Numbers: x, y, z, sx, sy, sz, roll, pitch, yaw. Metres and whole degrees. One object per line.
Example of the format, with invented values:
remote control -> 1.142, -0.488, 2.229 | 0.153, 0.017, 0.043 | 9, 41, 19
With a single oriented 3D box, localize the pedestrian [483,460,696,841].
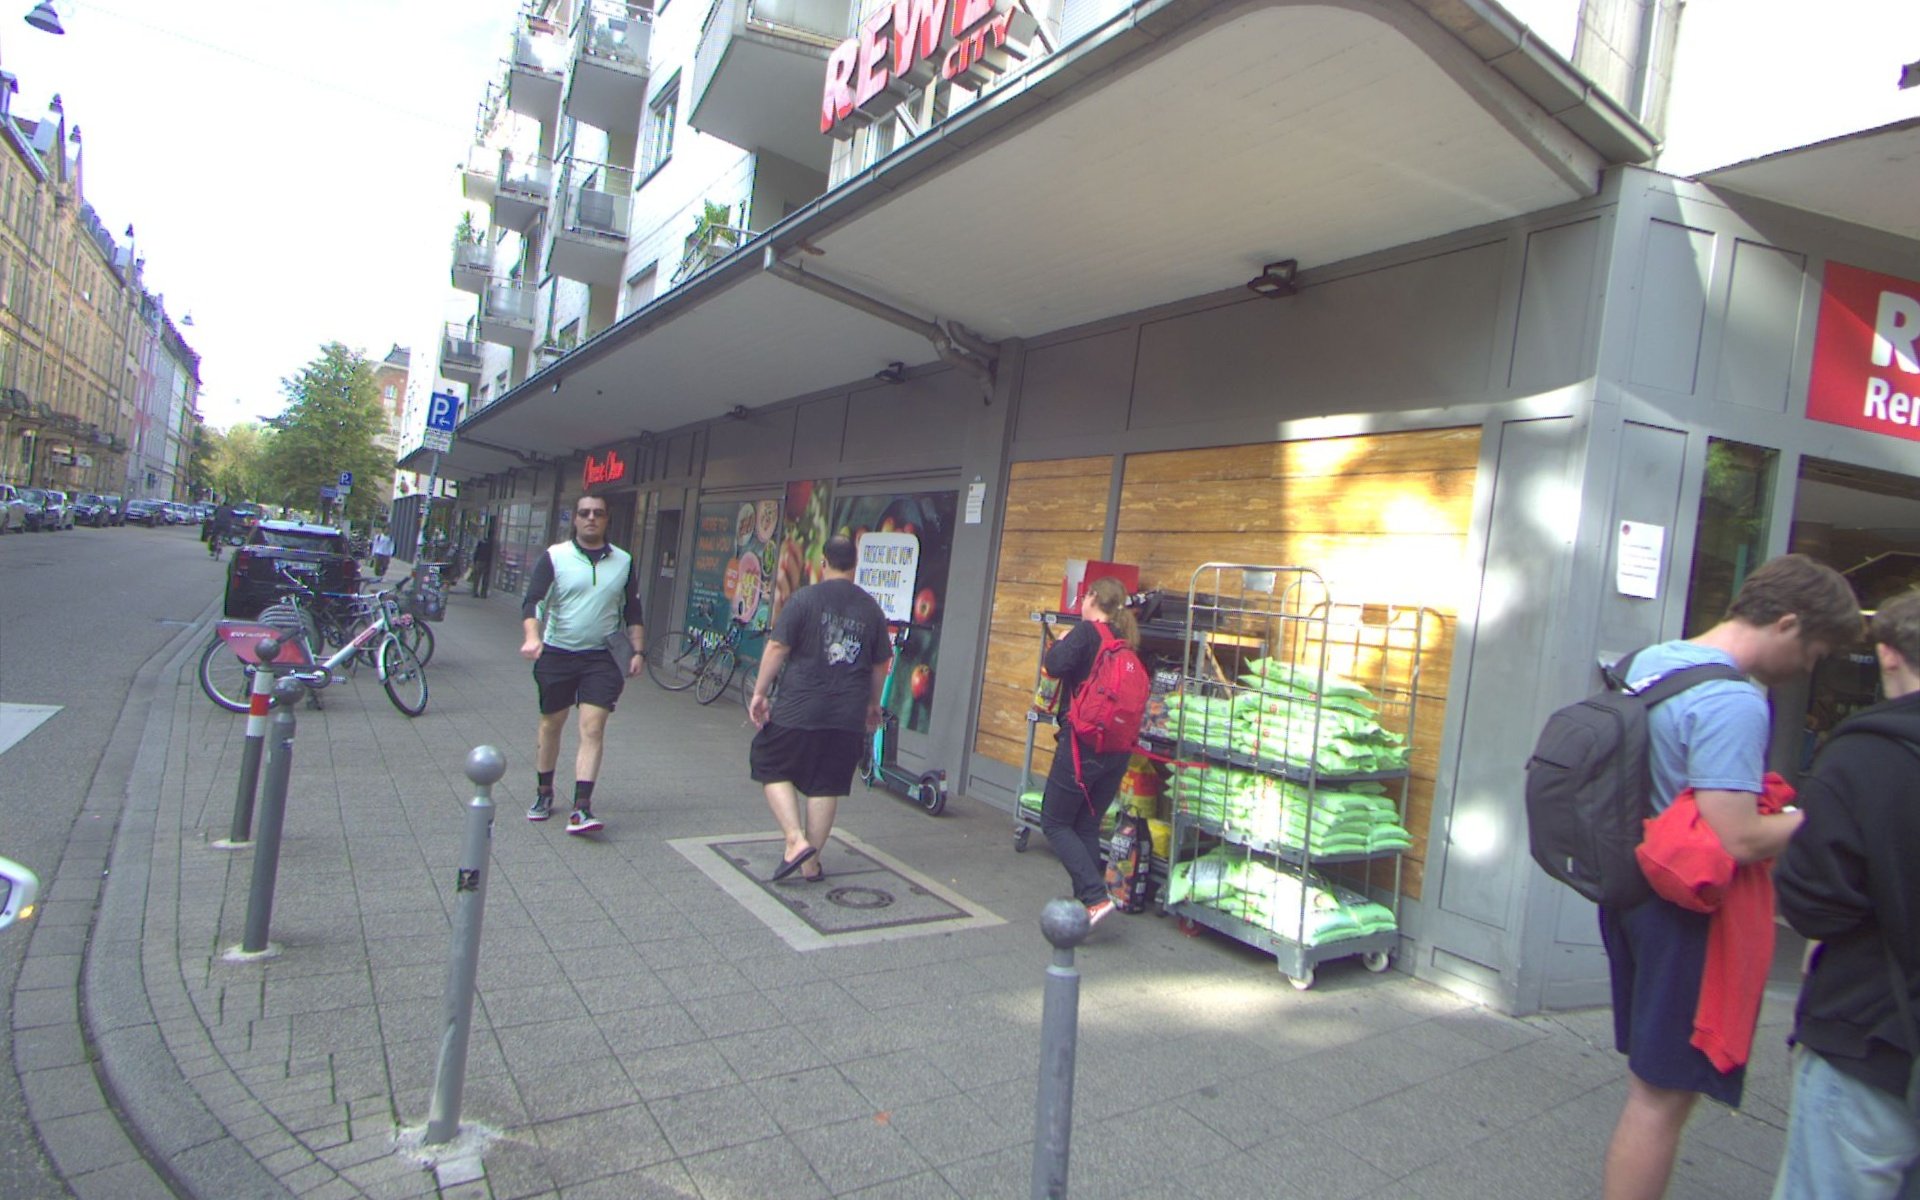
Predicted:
pedestrian -> -2.074, 0.262, 5.543 | 0.875, 1.858, 1.040 | 5, 2, -26

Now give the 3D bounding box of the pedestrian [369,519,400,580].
pedestrian -> -17.336, -1.532, 30.318 | 0.607, 1.748, 1.116 | 6, 2, -33

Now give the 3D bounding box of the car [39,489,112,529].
car -> -39.165, -4.022, 44.629 | 1.680, 1.403, 3.833 | 9, -1, -33

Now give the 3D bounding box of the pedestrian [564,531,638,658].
pedestrian -> -5.292, -0.084, 14.822 | 0.709, 1.770, 0.809 | 4, 3, -36

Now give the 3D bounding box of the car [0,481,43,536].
car -> -29.187, -2.847, 30.104 | 1.731, 1.501, 3.948 | 9, -1, -33

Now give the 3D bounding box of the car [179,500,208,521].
car -> -69.327, -8.069, 91.021 | 1.681, 1.568, 3.831 | 9, -1, -34

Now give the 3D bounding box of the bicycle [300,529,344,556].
bicycle -> -32.364, -2.933, 51.072 | 1.780, 1.175, 0.496 | 5, 2, -31

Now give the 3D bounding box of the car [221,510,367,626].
car -> -11.242, -0.598, 17.088 | 1.779, 1.626, 3.889 | 5, 2, -33

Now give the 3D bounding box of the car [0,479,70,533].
car -> -31.921, -3.206, 34.185 | 1.731, 1.501, 3.948 | 9, -1, -33

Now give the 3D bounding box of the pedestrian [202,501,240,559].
pedestrian -> -22.949, -2.171, 31.244 | 0.714, 1.669, 0.922 | 8, 0, -33

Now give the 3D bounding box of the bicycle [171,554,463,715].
bicycle -> -5.213, 0.302, 8.244 | 1.870, 1.140, 0.898 | 5, 2, -36

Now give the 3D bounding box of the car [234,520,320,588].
car -> -17.724, -1.236, 26.235 | 1.584, 1.457, 3.995 | 7, 0, -32

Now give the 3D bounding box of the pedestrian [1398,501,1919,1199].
pedestrian -> 1.616, 0.734, 2.347 | 0.701, 1.822, 0.631 | 5, 3, -1

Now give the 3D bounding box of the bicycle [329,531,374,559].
bicycle -> -29.454, -2.667, 48.727 | 1.756, 1.161, 0.407 | 5, 2, -40

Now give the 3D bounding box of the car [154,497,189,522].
car -> -61.443, -7.047, 78.461 | 1.681, 1.568, 3.831 | 9, -1, -34

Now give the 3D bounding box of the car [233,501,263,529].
car -> -60.804, -7.283, 85.945 | 1.772, 2.044, 3.851 | 9, -1, -34

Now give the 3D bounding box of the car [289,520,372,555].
car -> -36.566, -3.613, 58.486 | 3.747, 1.566, 1.709 | 5, 0, -44

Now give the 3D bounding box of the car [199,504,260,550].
car -> -34.238, -3.430, 47.248 | 1.953, 1.761, 4.005 | 9, -1, -33

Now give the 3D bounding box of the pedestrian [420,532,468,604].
pedestrian -> -12.252, -0.761, 23.880 | 0.818, 1.608, 0.774 | 6, 1, -32

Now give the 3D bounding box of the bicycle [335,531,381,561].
bicycle -> -28.028, -2.499, 46.864 | 1.752, 1.177, 0.644 | 5, 2, -32

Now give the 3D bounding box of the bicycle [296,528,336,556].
bicycle -> -30.341, -2.737, 47.412 | 1.487, 1.161, 0.407 | 5, 3, -39

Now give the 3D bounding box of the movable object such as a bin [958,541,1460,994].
movable object such as a bin -> 1.103, 0.656, 5.208 | 0.775, 1.766, 2.399 | 7, 0, -36

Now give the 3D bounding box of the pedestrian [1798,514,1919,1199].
pedestrian -> 2.395, 0.767, 2.078 | 0.646, 1.822, 0.655 | 4, 4, -21

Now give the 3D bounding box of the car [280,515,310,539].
car -> -55.985, -6.147, 84.739 | 1.919, 1.657, 3.964 | 9, -1, -33

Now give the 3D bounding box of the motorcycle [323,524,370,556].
motorcycle -> -34.755, -3.397, 56.994 | 2.132, 1.550, 0.680 | 5, 2, -30

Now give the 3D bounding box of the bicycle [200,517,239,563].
bicycle -> -22.977, -1.872, 31.246 | 0.713, 1.289, 1.867 | 8, 0, -33

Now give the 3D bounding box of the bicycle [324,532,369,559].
bicycle -> -28.956, -2.566, 47.488 | 1.752, 1.101, 0.644 | 5, 2, -32

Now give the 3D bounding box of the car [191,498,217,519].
car -> -78.368, -9.445, 104.310 | 1.682, 1.841, 3.831 | 10, -2, -34

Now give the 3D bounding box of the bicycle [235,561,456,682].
bicycle -> -6.201, 0.247, 10.223 | 1.781, 1.085, 0.562 | 5, 3, -44

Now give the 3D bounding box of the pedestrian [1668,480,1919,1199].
pedestrian -> 1.733, 0.758, 1.680 | 0.621, 1.822, 0.713 | 7, 4, 21

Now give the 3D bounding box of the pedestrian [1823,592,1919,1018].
pedestrian -> 4.446, 0.887, 4.196 | 0.751, 1.775, 0.931 | 8, 1, 14

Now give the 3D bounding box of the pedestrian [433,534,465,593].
pedestrian -> -14.682, -1.040, 28.885 | 0.639, 1.609, 0.774 | 5, 2, -32

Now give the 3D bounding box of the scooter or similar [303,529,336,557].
scooter or similar -> -29.182, -2.582, 45.833 | 1.187, 1.163, 0.378 | 6, 3, -2

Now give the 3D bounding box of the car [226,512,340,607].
car -> -13.955, -0.878, 20.740 | 1.678, 1.597, 3.865 | 7, 0, -35

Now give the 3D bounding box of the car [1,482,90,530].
car -> -34.246, -3.507, 37.777 | 1.680, 1.403, 3.833 | 9, -1, -33

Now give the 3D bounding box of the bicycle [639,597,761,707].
bicycle -> -2.994, 0.565, 11.472 | 0.736, 1.028, 1.766 | 4, 2, -34

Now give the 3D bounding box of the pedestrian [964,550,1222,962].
pedestrian -> 0.588, 0.647, 4.546 | 0.717, 1.654, 0.705 | 4, 3, -36

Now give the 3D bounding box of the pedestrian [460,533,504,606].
pedestrian -> -13.072, -0.827, 27.530 | 0.697, 1.883, 0.644 | 7, 1, -5

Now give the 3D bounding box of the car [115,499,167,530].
car -> -47.535, -4.948, 58.431 | 1.682, 1.384, 3.833 | 13, -3, -32

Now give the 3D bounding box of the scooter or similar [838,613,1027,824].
scooter or similar -> -0.222, 0.777, 7.004 | 0.628, 1.229, 1.243 | 4, 3, -36

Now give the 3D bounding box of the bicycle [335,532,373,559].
bicycle -> -29.097, -2.618, 48.326 | 1.485, 1.161, 0.407 | 5, 2, -34

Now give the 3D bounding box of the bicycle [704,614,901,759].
bicycle -> -1.452, 0.753, 9.117 | 1.707, 1.056, 0.676 | 6, 0, 37

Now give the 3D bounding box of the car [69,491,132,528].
car -> -42.508, -4.456, 49.853 | 1.680, 1.454, 3.833 | 9, -1, -33

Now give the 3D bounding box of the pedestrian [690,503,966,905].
pedestrian -> -0.693, 0.451, 5.058 | 0.844, 1.770, 1.038 | 4, 3, -36

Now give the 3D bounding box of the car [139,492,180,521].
car -> -54.472, -6.310, 68.478 | 1.681, 1.567, 3.832 | 10, -2, -34

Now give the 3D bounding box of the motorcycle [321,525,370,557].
motorcycle -> -33.206, -3.202, 54.424 | 2.132, 1.454, 0.759 | 5, 2, -30

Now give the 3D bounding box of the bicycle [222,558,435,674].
bicycle -> -6.664, 0.194, 10.687 | 1.781, 1.085, 0.579 | 5, 3, -44
